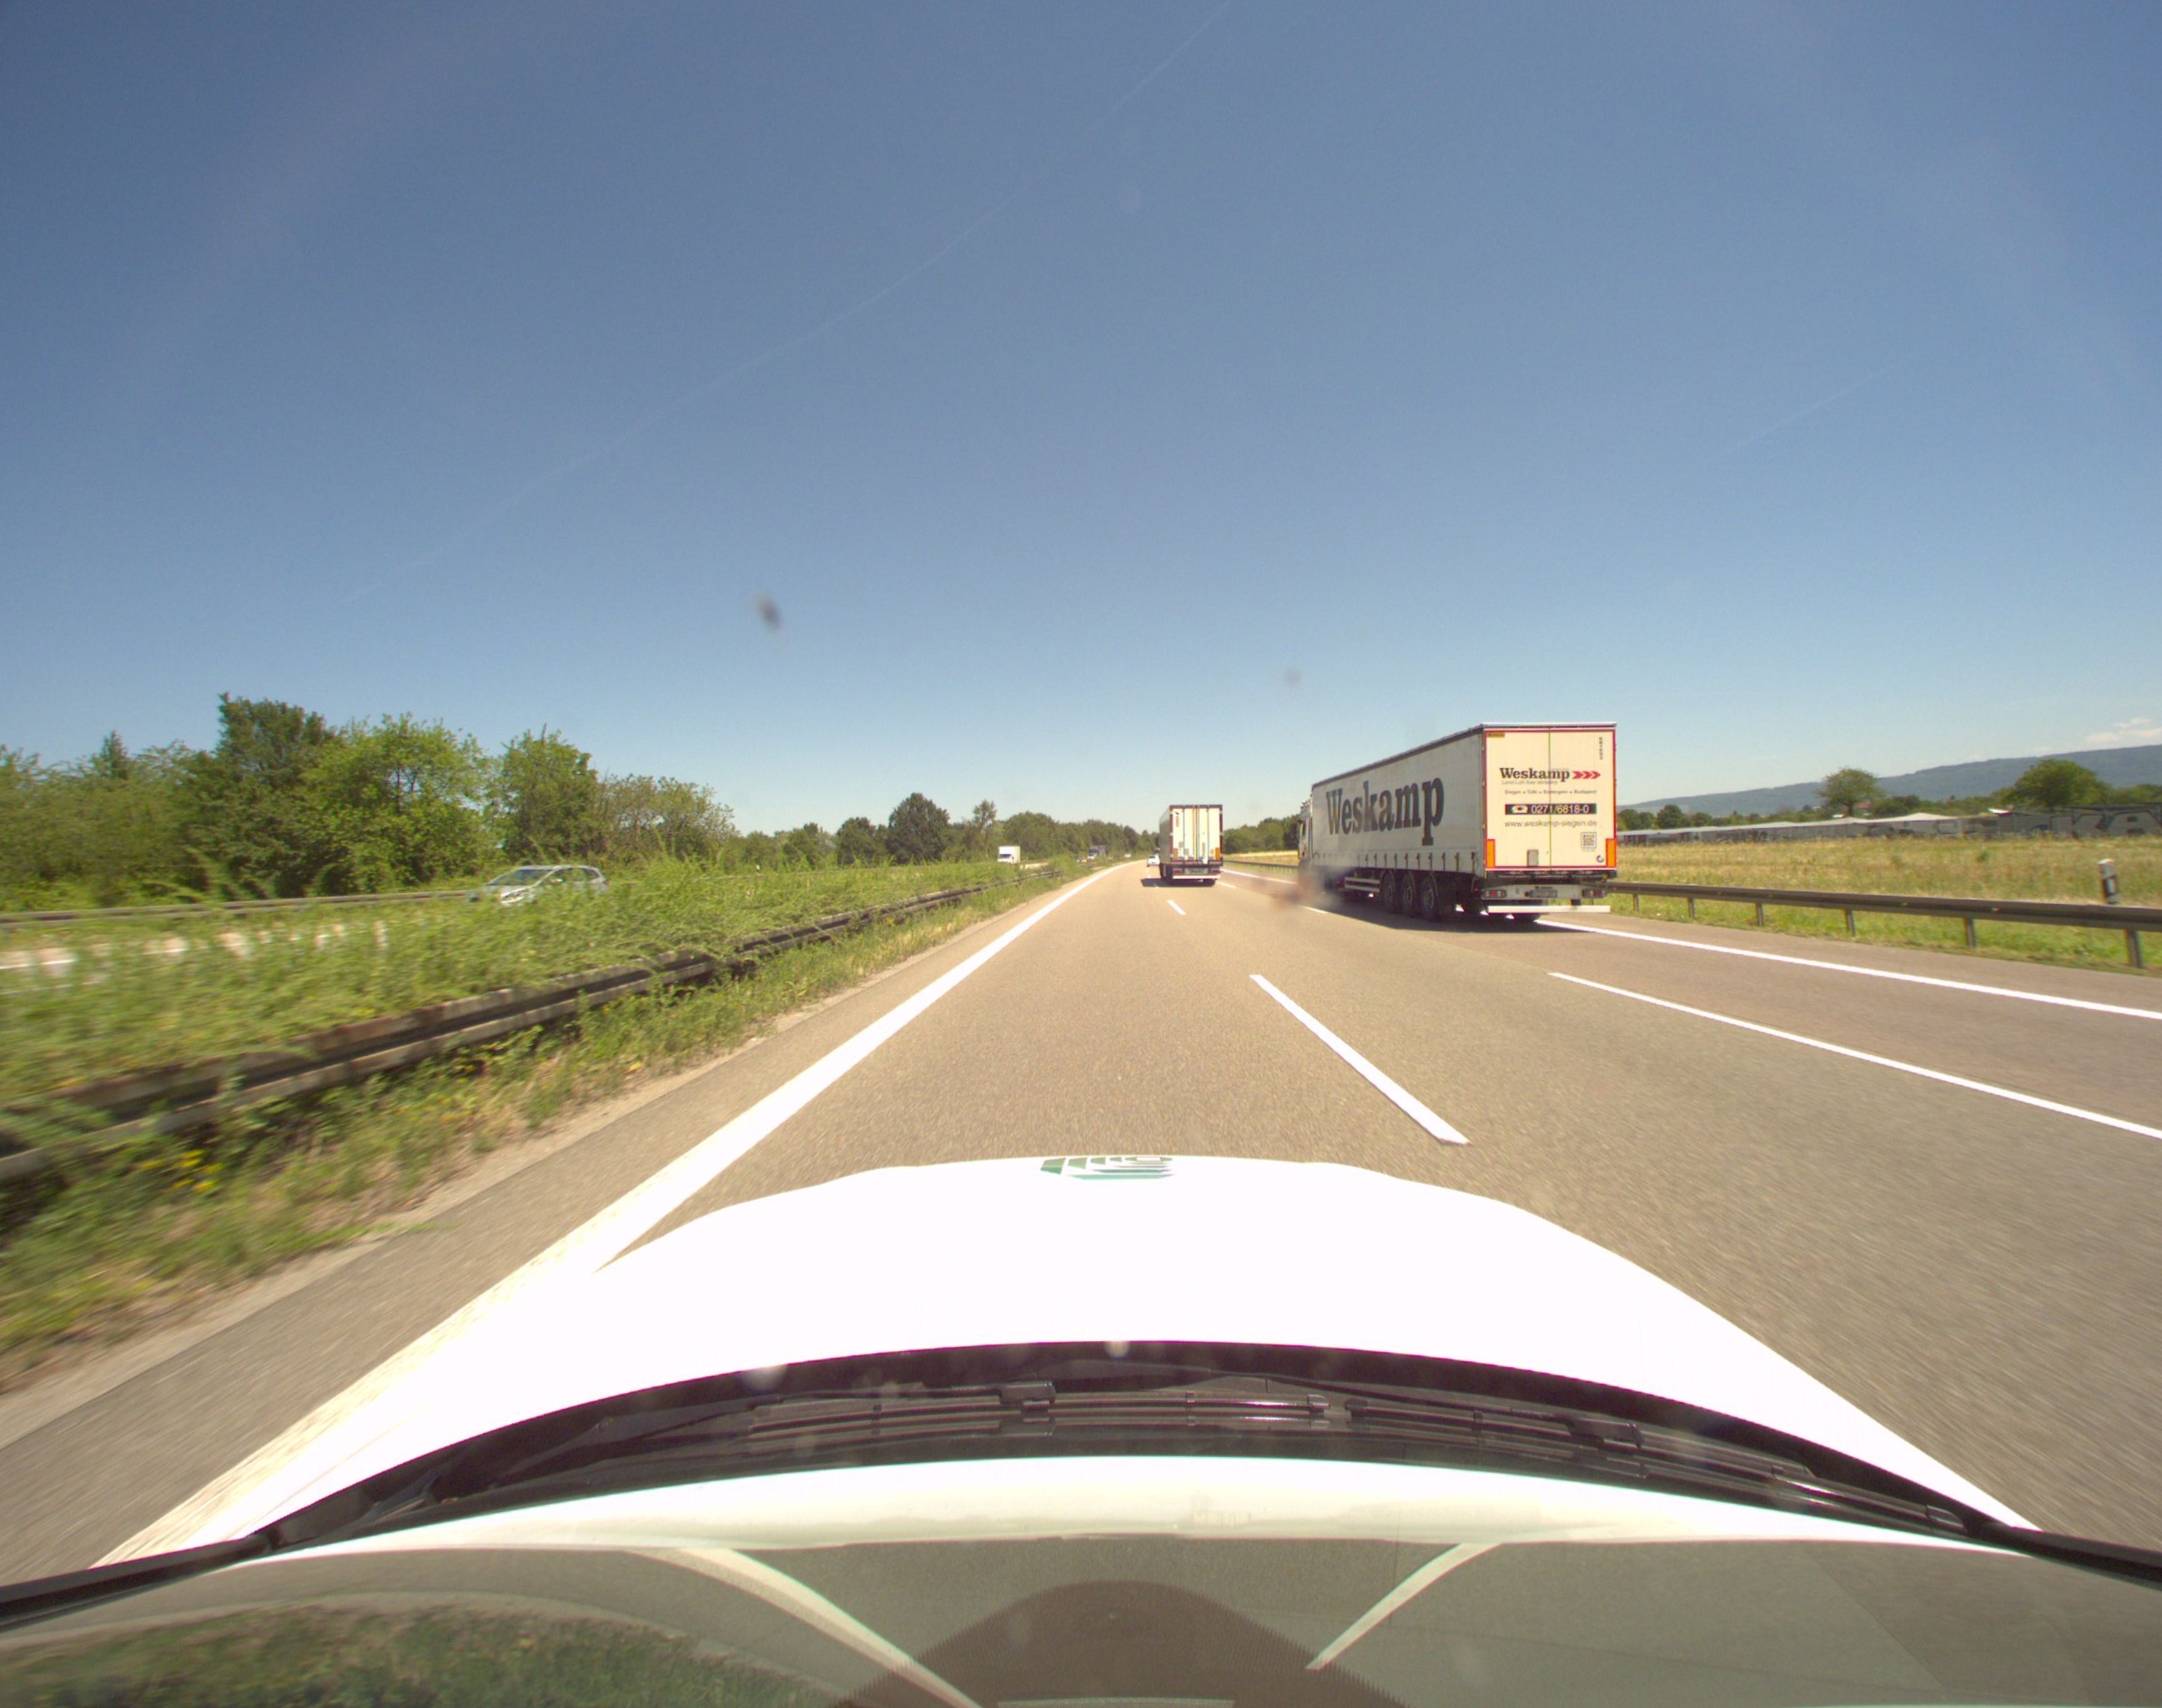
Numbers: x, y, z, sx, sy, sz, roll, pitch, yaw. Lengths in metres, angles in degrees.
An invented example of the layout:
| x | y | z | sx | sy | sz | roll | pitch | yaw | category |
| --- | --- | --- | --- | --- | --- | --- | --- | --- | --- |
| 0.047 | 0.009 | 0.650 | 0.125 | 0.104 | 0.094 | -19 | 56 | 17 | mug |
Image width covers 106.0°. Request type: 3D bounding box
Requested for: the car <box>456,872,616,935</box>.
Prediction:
| x | y | z | sx | sy | sz | roll | pitch | yaw | category |
| --- | --- | --- | --- | --- | --- | --- | --- | --- | --- |
| -15.908 | 1.377 | 24.103 | 1.705 | 1.574 | 4.403 | -2 | -1 | 0 | car |

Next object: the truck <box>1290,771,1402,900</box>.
| x | y | z | sx | sy | sz | roll | pitch | yaw | category |
| --- | --- | --- | --- | --- | --- | --- | --- | --- | --- |
| 9.482 | -0.620 | 29.696 | 2.590 | 4.256 | 5.092 | -1 | 0 | 3 | truck |

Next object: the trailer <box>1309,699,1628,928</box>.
| x | y | z | sx | sy | sz | roll | pitch | yaw | category |
| --- | --- | --- | --- | --- | --- | --- | --- | --- | --- |
| 9.150 | -0.669 | 22.058 | 2.585 | 4.252 | 13.647 | -1 | -1 | 2 | trailer |

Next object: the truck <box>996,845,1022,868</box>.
| x | y | z | sx | sy | sz | roll | pitch | yaw | category |
| --- | --- | --- | --- | --- | --- | --- | --- | --- | --- |
| -9.973 | 0.379 | 113.443 | 2.440 | 3.099 | 6.998 | -1 | 0 | 4 | truck |

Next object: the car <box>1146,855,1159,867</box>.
| x | y | z | sx | sy | sz | roll | pitch | yaw | category |
| --- | --- | --- | --- | --- | --- | --- | --- | --- | --- |
| 9.289 | 0.918 | 105.918 | 1.619 | 1.479 | 4.006 | -1 | -1 | 5 | car |

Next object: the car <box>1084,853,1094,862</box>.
| x | y | z | sx | sy | sz | roll | pitch | yaw | category |
| --- | --- | --- | --- | --- | --- | --- | --- | --- | --- |
| 1.935 | 0.834 | 194.470 | 2.049 | 2.071 | 5.413 | -2 | 0 | 3 | car |

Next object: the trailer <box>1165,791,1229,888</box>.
| x | y | z | sx | sy | sz | roll | pitch | yaw | category |
| --- | --- | --- | --- | --- | --- | --- | --- | --- | --- |
| 6.318 | -0.695 | 46.482 | 2.887 | 4.657 | 14.007 | -1 | 0 | 5 | trailer |
